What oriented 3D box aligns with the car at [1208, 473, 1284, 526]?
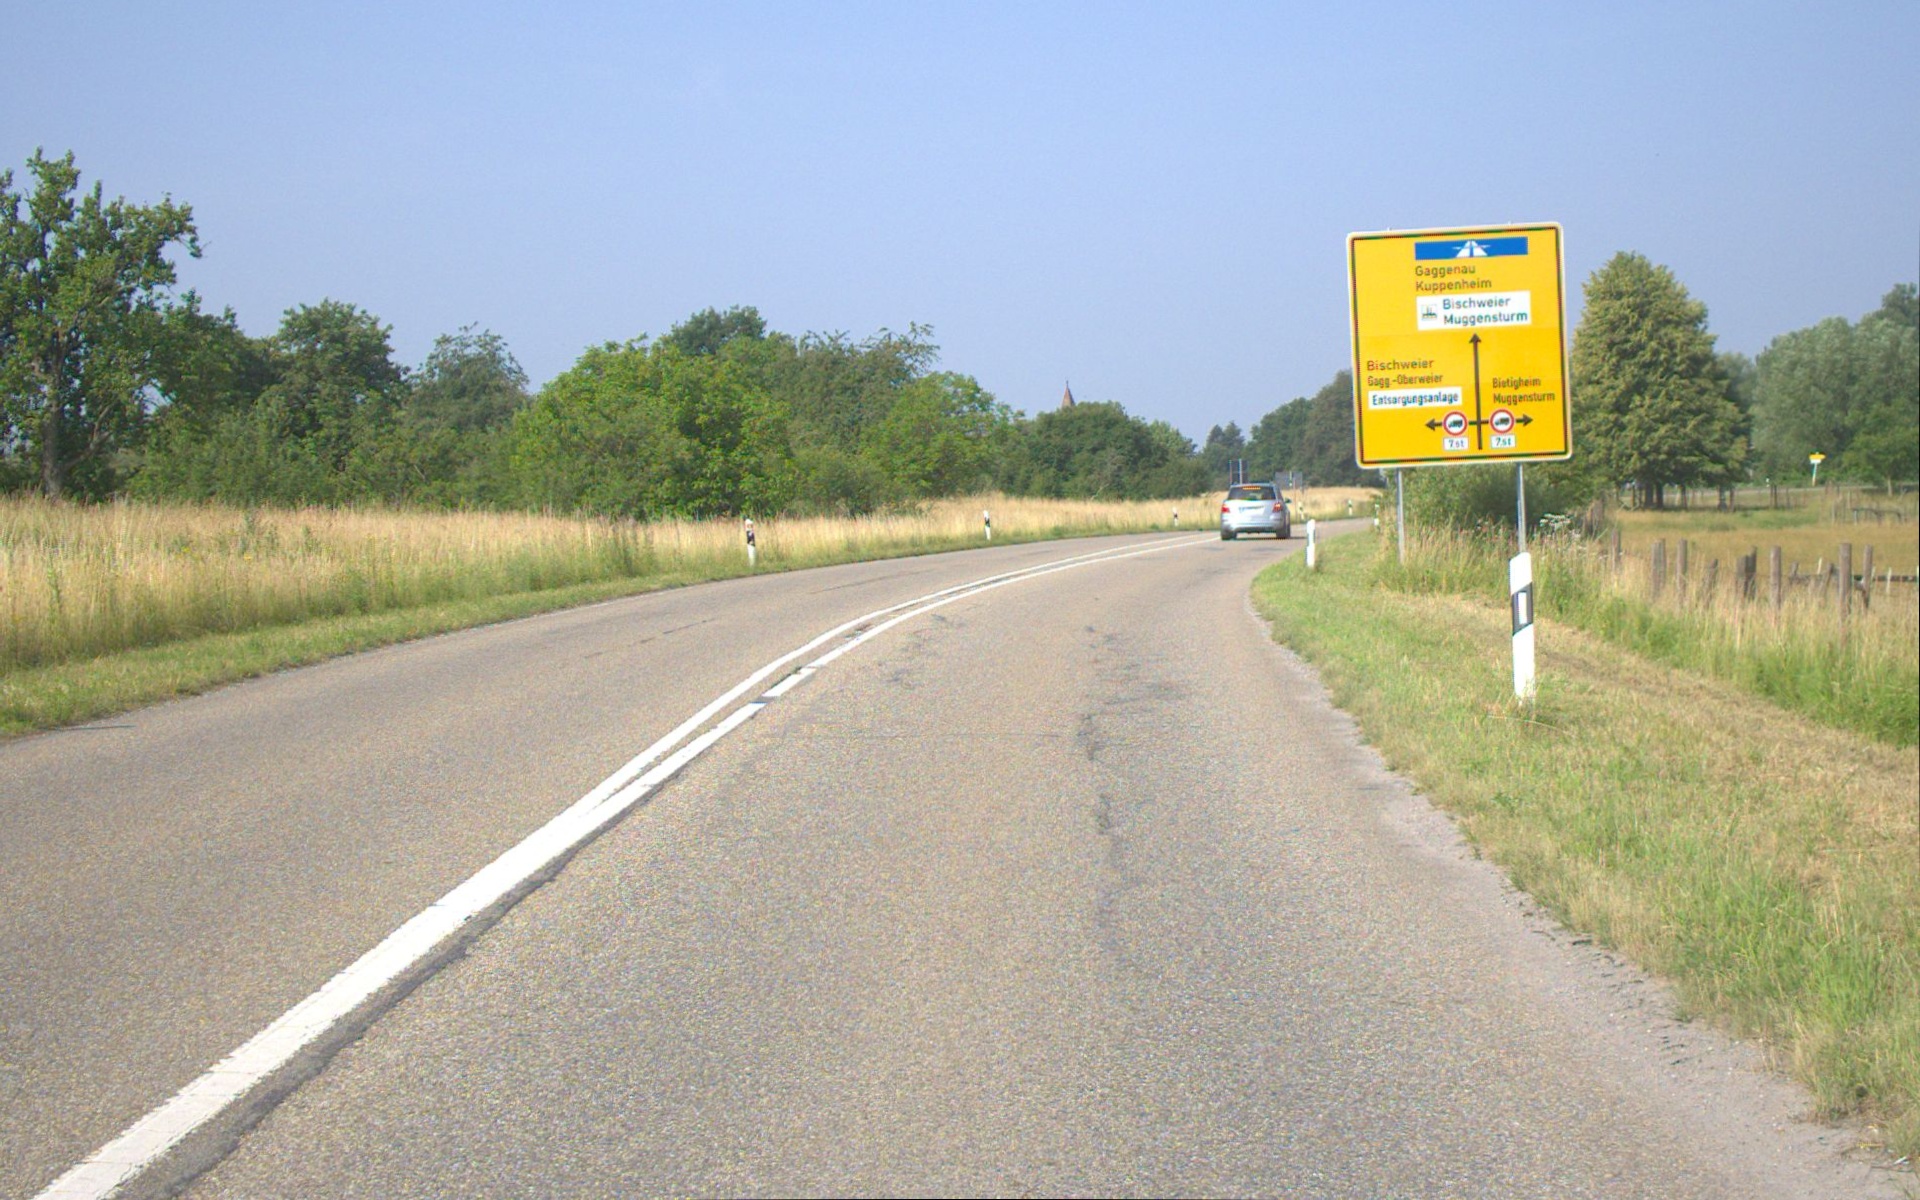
[{"bbox_3d":[8.255,-2.894,99.008,1.900,1.506,3.999,0,2,9],"label":"car"}]
